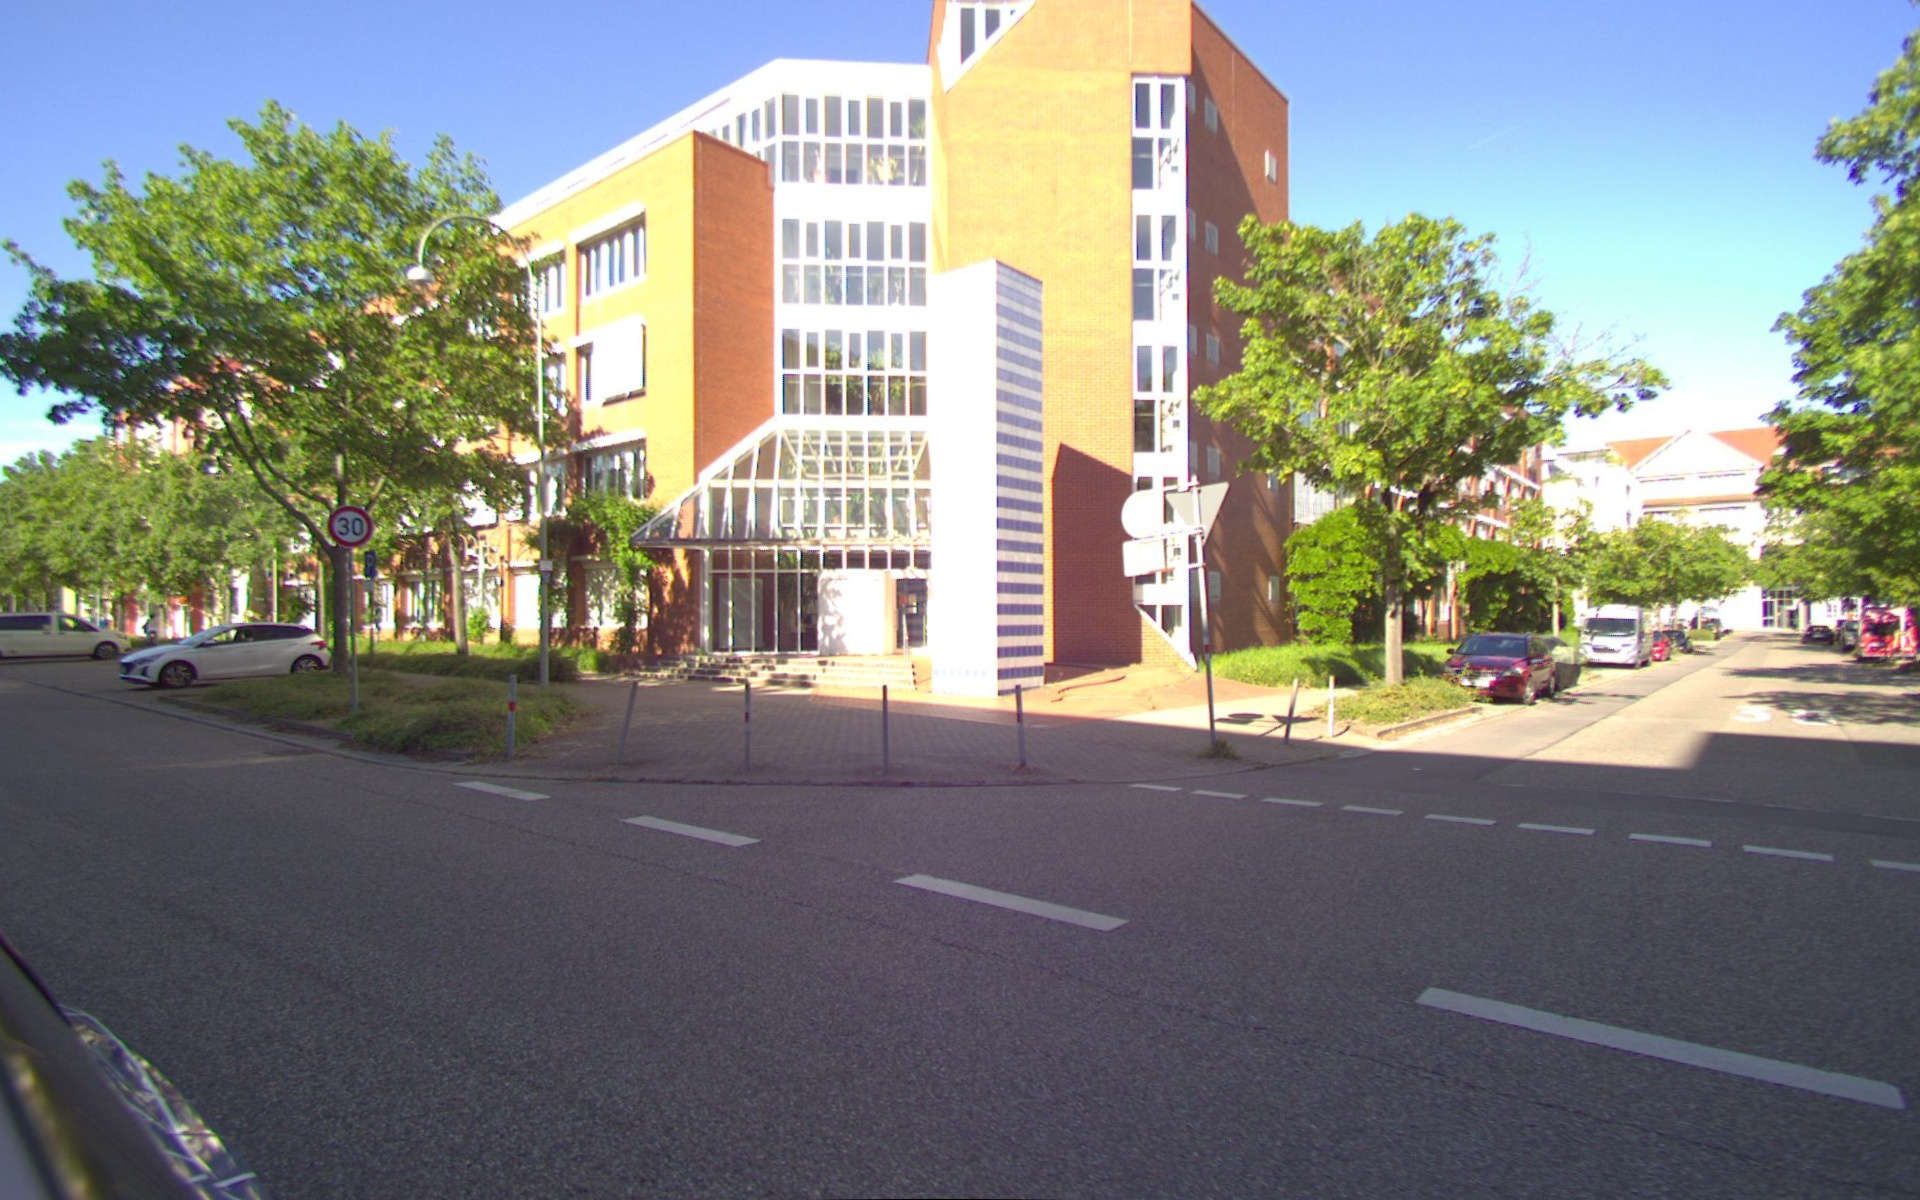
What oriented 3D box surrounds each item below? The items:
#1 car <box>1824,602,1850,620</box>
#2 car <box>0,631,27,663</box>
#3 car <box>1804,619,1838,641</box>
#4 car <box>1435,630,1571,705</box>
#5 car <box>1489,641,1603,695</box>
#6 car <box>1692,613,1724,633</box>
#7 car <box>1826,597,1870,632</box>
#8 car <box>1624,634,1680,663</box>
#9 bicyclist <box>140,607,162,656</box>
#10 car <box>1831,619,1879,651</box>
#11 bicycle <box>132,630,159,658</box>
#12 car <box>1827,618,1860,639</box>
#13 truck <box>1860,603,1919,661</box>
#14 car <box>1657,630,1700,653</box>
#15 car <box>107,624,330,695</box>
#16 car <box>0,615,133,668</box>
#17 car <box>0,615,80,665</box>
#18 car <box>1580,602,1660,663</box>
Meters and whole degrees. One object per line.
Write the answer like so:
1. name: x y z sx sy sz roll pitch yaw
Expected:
1. car: 91.609 1.144 105.730 1.984 1.724 4.119 -2 -3 40
2. car: -47.478 2.260 48.836 1.593 1.567 3.408 -1 -2 39
3. car: 63.814 2.228 75.003 1.859 1.566 3.639 -2 -3 41
4. car: 12.451 1.461 23.085 1.846 1.463 4.381 -2 -2 40
5. car: 15.741 1.761 27.084 1.846 1.196 4.660 -1 -1 40
6. car: 64.671 2.010 87.484 1.777 1.686 3.943 -2 -3 43
7. car: 60.295 1.005 68.769 2.083 2.287 4.660 -2 -3 40
8. car: 33.494 2.318 48.955 1.846 1.341 4.026 -2 -2 40
9. bicyclist: -34.080 1.308 42.621 0.609 2.029 0.625 -1 0 43
10. car: 55.393 2.164 62.705 2.083 1.882 4.660 -2 -3 40
11. bicycle: -34.208 1.843 42.499 2.155 1.107 0.628 -1 -2 44
12. car: 72.107 2.371 82.630 1.867 1.659 4.272 -1 -2 39
13. truck: 42.584 1.466 46.175 1.997 2.561 3.948 -2 -3 38
14. car: 43.255 2.475 60.862 1.768 1.341 4.026 -2 -2 40
15. car: -17.354 1.334 23.839 1.616 1.430 3.954 -1 -1 39
16. car: -34.681 1.535 38.102 1.999 1.901 5.250 -2 -1 41
17. car: -42.306 1.771 44.940 1.999 2.185 4.575 -2 -2 41
18. car: 26.384 1.243 40.413 2.083 2.287 4.660 -2 -2 40
